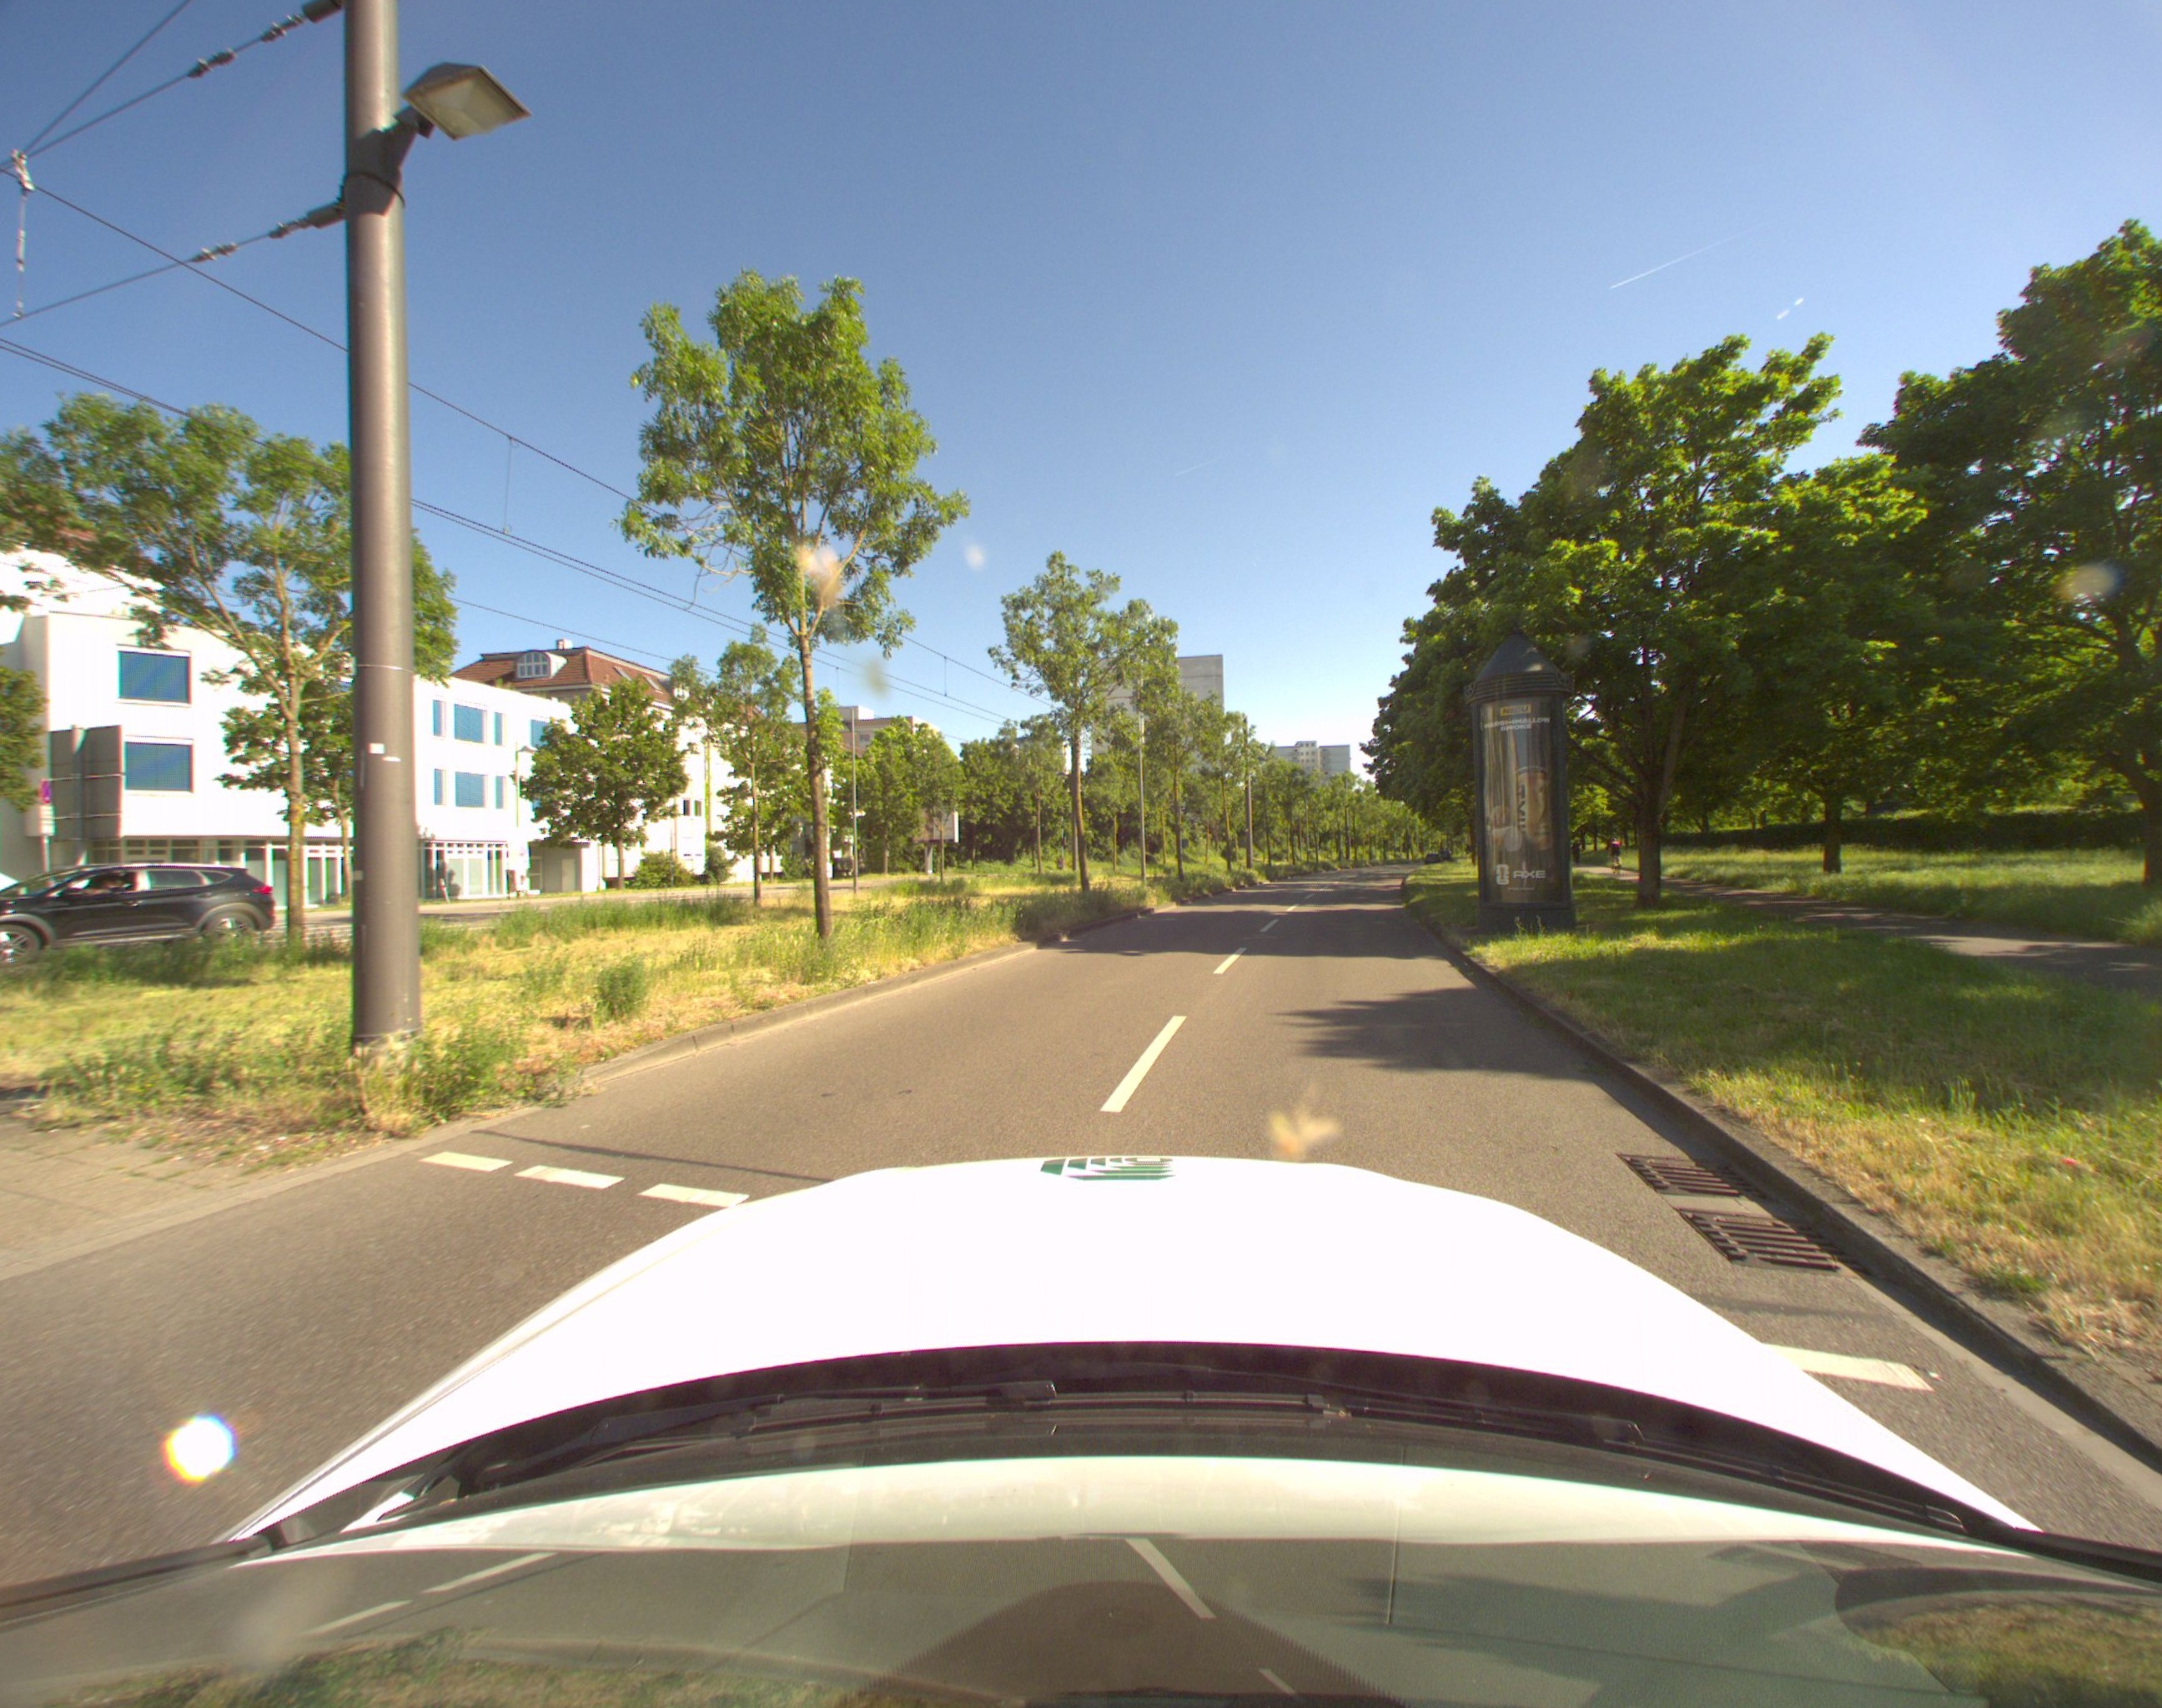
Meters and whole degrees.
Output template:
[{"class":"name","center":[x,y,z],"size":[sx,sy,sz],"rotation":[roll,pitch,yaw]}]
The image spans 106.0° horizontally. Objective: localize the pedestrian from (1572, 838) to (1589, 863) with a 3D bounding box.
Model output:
[{"class":"pedestrian","center":[34.461,-0.251,56.234],"size":[0.732,1.726,0.892],"rotation":[-1,0,13]}]

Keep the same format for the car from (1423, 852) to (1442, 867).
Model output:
[{"class":"car","center":[42.736,0.699,98.903],"size":[1.672,1.578,3.895],"rotation":[-3,-3,29]}]

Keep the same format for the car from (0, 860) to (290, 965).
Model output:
[{"class":"car","center":[-17.522,0.953,14.474],"size":[1.977,1.609,4.538],"rotation":[-2,0,19]}]

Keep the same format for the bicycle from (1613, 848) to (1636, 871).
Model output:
[{"class":"bicycle","center":[26.211,0.236,39.295],"size":[0.665,1.055,1.822],"rotation":[-2,0,26]}]

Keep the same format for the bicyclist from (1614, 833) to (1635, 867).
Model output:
[{"class":"bicyclist","center":[26.193,-0.196,39.279],"size":[0.665,1.585,1.011],"rotation":[-2,0,25]}]
